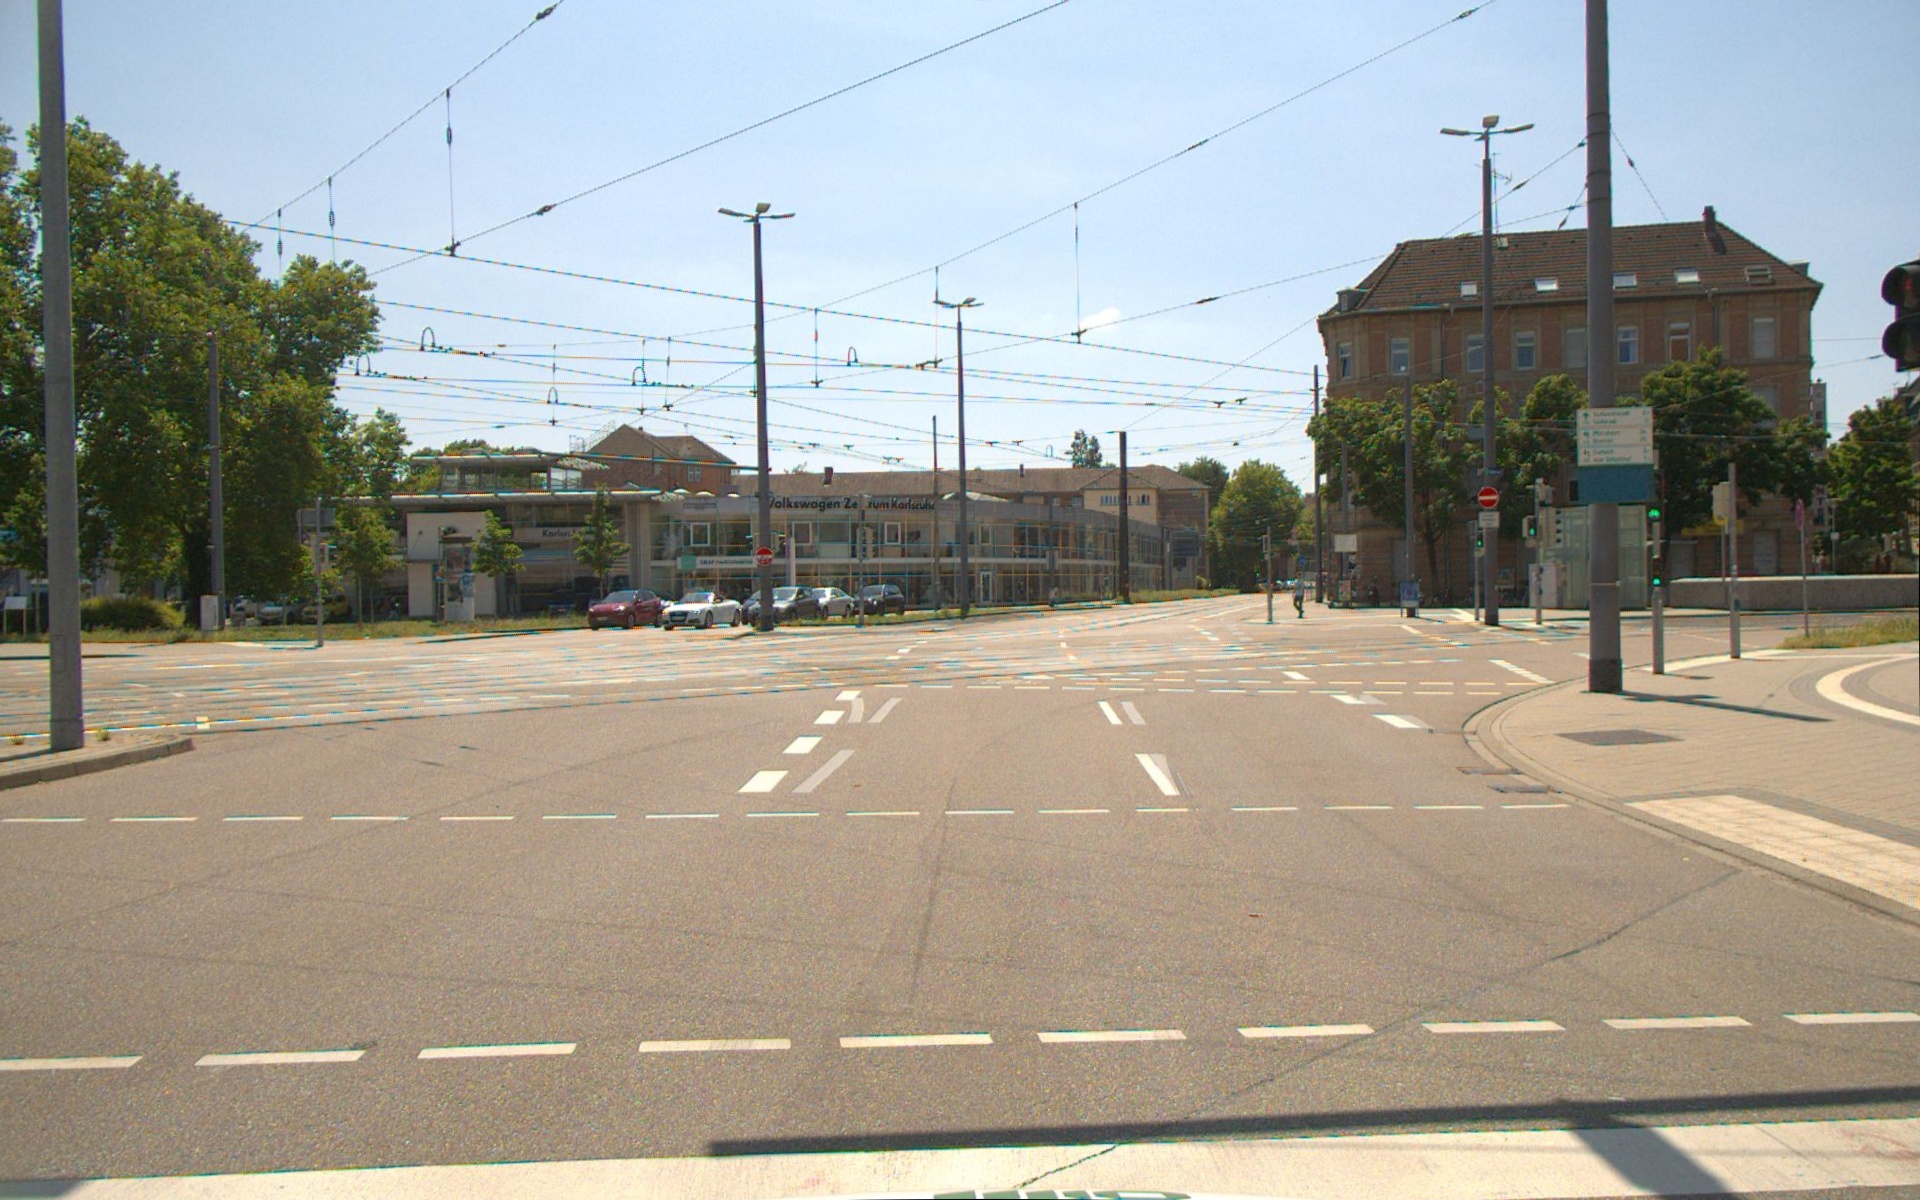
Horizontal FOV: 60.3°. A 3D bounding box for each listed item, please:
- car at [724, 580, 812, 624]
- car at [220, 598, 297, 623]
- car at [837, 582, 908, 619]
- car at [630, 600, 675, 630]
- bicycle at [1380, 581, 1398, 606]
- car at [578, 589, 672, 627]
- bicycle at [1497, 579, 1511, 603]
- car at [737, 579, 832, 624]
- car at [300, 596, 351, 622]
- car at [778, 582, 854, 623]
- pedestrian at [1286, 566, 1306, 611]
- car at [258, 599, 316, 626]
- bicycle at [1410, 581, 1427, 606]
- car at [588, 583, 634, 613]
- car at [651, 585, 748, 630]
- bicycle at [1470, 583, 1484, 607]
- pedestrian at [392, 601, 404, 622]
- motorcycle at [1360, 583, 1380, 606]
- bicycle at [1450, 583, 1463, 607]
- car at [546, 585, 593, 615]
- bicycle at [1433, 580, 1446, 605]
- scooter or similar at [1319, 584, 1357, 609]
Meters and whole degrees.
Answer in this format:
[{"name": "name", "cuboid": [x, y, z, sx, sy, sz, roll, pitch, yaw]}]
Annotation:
[{"name": "car", "cuboid": [-8.087, 0.058, 70.035, 1.951, 1.730, 4.849, -1, 1, 16]}, {"name": "car", "cuboid": [-45.069, 0.666, 106.345, 4.278, 1.536, 1.750, -1, 0, -36]}, {"name": "car", "cuboid": [-4.335, 0.004, 82.879, 2.034, 1.712, 4.849, -1, 1, 16]}, {"name": "car", "cuboid": [-18.501, 0.915, 99.674, 1.881, 1.737, 4.000, 1, 0, 0]}, {"name": "bicycle", "cuboid": [20.493, -0.320, 78.985, 0.539, 1.139, 1.821, -1, 0, 6]}, {"name": "car", "cuboid": [-13.851, 0.309, 68.675, 1.951, 1.491, 4.850, -1, 1, 13]}, {"name": "bicycle", "cuboid": [25.857, -0.434, 78.597, 0.539, 1.139, 1.872, -1, 0, 15]}, {"name": "car", "cuboid": [-6.763, 0.037, 64.223, 1.951, 1.666, 4.849, -1, 1, 16]}, {"name": "car", "cuboid": [-38.529, 0.527, 100.488, 1.732, 1.536, 4.322, -1, 0, -5]}, {"name": "car", "cuboid": [-6.564, 0.103, 75.996, 1.951, 1.770, 4.546, -1, 0, 16]}, {"name": "pedestrian", "cuboid": [13.295, -0.460, 65.418, 0.455, 1.738, 0.634, -1, 0, -27]}, {"name": "car", "cuboid": [-41.034, 0.753, 100.948, 1.731, 1.536, 4.327, -1, 0, 0]}, {"name": "bicycle", "cuboid": [21.867, -0.284, 78.842, 0.433, 1.166, 2.095, 1, -1, 6]}, {"name": "car", "cuboid": [-21.022, -0.128, 99.794, 1.881, 1.737, 4.000, 1, 0, 0]}, {"name": "car", "cuboid": [-9.984, 0.257, 63.883, 2.032, 1.607, 4.850, -1, 1, 13]}, {"name": "bicycle", "cuboid": [24.491, -0.237, 78.360, 0.539, 1.139, 1.890, -1, 0, 15]}, {"name": "pedestrian", "cuboid": [-33.013, 0.663, 97.136, 0.502, 1.225, 0.446, -1, 0, 5]}, {"name": "motorcycle", "cuboid": [19.613, -0.280, 79.110, 0.568, 1.093, 1.947, -1, 0, 3]}, {"name": "bicycle", "cuboid": [23.581, -0.251, 78.503, 0.539, 1.139, 1.822, -1, 0, 15]}, {"name": "car", "cuboid": [-23.491, 0.029, 99.581, 1.881, 1.737, 4.000, 1, 0, 0]}, {"name": "bicycle", "cuboid": [22.808, -0.369, 78.638, 0.539, 1.139, 1.822, -1, 0, 15]}, {"name": "scooter or similar", "cuboid": [18.696, -0.190, 81.857, 1.757, 1.202, 0.597, -1, 0, -16]}]
